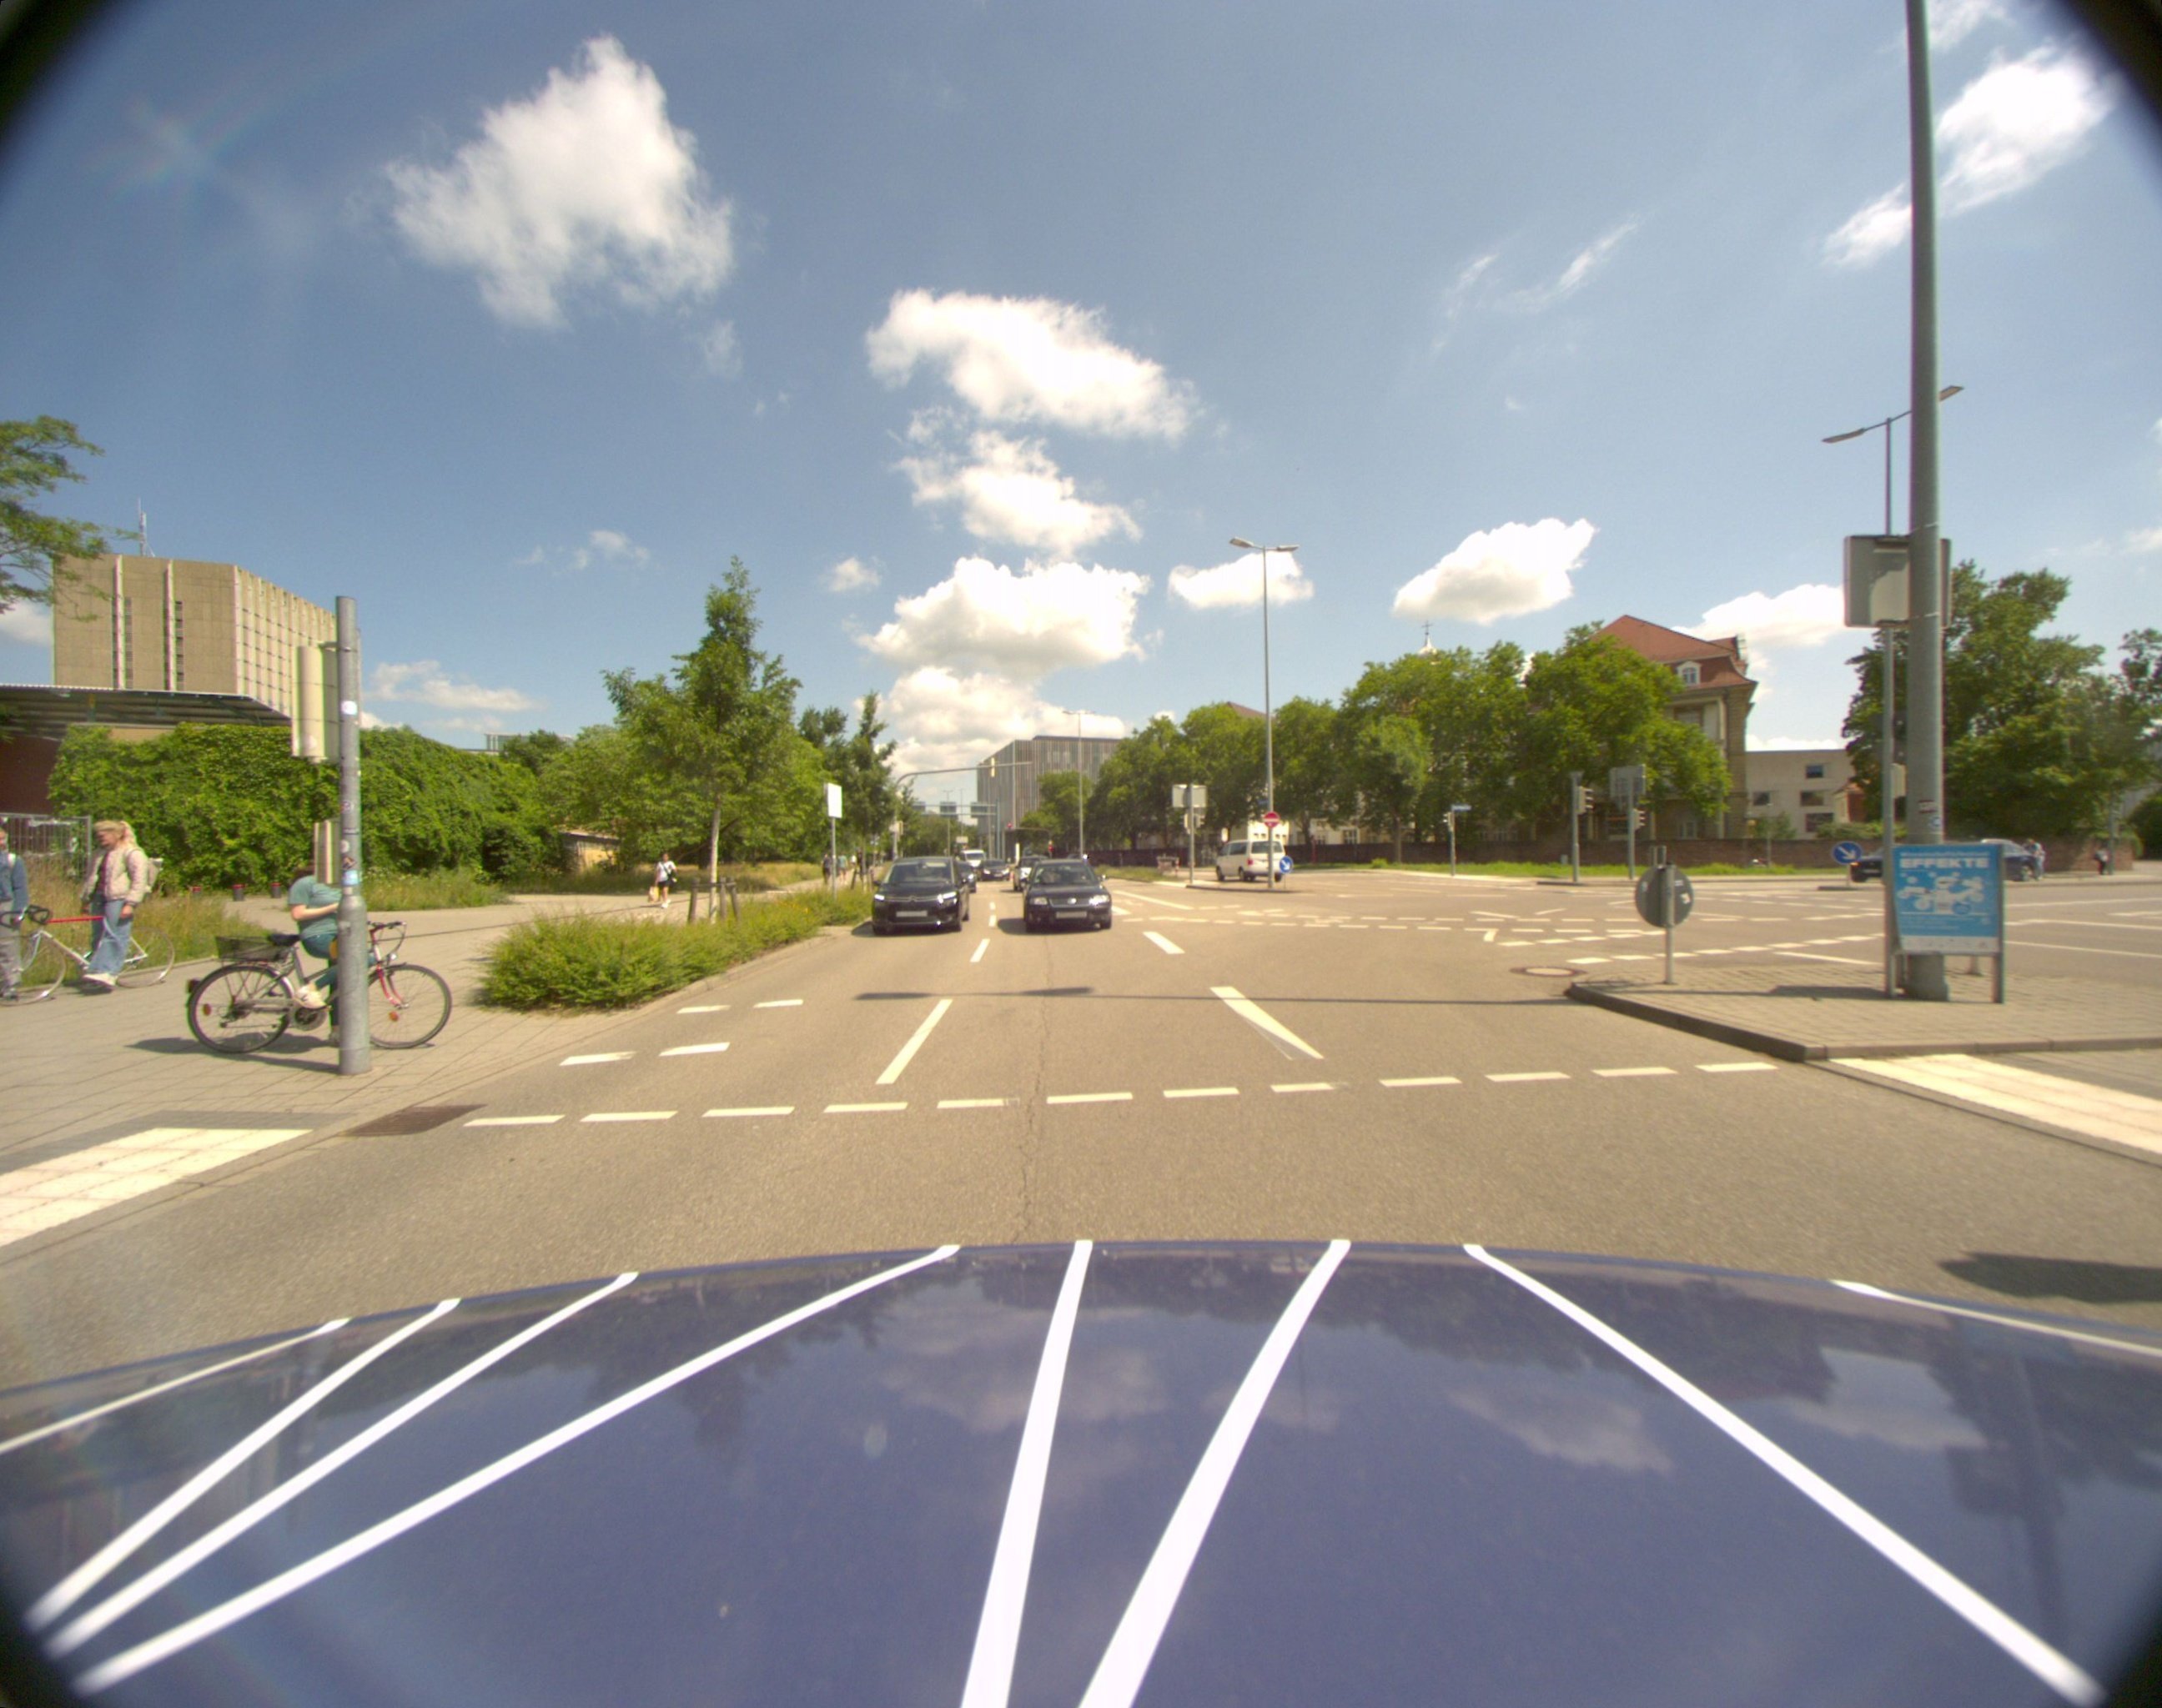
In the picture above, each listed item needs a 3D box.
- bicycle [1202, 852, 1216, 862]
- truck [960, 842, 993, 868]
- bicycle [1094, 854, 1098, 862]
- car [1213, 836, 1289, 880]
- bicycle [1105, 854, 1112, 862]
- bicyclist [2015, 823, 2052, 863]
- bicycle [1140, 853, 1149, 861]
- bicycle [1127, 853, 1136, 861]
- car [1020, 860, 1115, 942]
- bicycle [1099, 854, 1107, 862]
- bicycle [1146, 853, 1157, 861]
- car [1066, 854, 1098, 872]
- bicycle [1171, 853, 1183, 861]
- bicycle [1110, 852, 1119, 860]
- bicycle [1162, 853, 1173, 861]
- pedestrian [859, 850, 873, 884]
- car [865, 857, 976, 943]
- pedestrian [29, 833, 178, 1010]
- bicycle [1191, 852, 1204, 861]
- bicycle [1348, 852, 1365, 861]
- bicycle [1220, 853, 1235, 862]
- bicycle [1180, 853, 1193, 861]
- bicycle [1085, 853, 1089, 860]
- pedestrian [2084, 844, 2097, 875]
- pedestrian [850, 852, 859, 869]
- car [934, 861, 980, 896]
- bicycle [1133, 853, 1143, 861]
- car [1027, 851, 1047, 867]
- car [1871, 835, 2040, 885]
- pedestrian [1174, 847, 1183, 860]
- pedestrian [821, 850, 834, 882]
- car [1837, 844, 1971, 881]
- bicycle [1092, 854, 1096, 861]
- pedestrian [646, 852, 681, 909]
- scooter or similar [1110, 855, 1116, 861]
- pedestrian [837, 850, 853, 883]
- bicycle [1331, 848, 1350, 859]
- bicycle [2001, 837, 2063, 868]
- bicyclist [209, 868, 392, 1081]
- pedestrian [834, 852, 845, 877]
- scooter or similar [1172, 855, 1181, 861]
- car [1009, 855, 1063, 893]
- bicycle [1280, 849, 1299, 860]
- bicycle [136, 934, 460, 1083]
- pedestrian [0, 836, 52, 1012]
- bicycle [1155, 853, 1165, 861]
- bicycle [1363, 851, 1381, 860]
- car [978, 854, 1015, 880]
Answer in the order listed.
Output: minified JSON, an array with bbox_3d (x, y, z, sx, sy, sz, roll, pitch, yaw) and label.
[{"bbox_3d":[14.694,0.347,87.383,0.399,1.037,1.953,-1,1,-34],"label":"bicycle"},{"bbox_3d":[-10.095,0.130,73.209,2.464,2.287,5.808,-3,1,-14],"label":"truck"},{"bbox_3d":[2.245,0.571,110.674,0.382,1.101,1.671,-1,0,7],"label":"bicycle"},{"bbox_3d":[7.951,0.183,35.985,1.887,1.883,4.866,-1,0,-8],"label":"car"},{"bbox_3d":[3.876,0.510,107.174,0.383,1.101,1.667,-1,1,-25],"label":"bicycle"},{"bbox_3d":[36.930,-0.438,29.474,0.647,1.524,0.667,-2,2,-12],"label":"bicyclist"},{"bbox_3d":[8.208,0.336,98.409,0.378,1.037,1.413,-1,1,-29],"label":"bicycle"},{"bbox_3d":[6.687,0.386,101.399,0.383,1.037,1.666,-1,1,-27],"label":"bicycle"},{"bbox_3d":[-0.393,0.914,16.746,1.752,1.426,4.518,-3,0,-4],"label":"car"},{"bbox_3d":[3.155,0.540,109.076,0.383,1.101,1.667,-1,1,-24],"label":"bicycle"},{"bbox_3d":[8.977,0.340,96.983,0.398,1.037,1.757,-1,1,-29],"label":"bicycle"},{"bbox_3d":[0.088,0.850,71.271,1.888,1.614,4.149,-2,0,-16],"label":"car"},{"bbox_3d":[11.619,0.362,92.213,0.398,1.037,1.757,-1,1,-30],"label":"bicycle"},{"bbox_3d":[4.663,0.319,105.665,0.383,1.101,1.666,-1,1,-27],"label":"bicycle"},{"bbox_3d":[10.730,0.401,93.802,0.398,0.998,1.757,-1,1,-29],"label":"bicycle"},{"bbox_3d":[-11.147,0.674,39.468,0.669,1.739,0.847,0,0,-15],"label":"pedestrian"},{"bbox_3d":[-3.476,0.912,17.269,1.863,1.613,4.518,-2,1,-5],"label":"car"},{"bbox_3d":[-10.325,0.687,8.051,0.752,1.792,0.609,1,0,-8],"label":"pedestrian"},{"bbox_3d":[13.642,0.343,88.967,0.399,1.037,1.635,-1,1,-34],"label":"bicycle"},{"bbox_3d":[26.129,0.257,72.090,0.399,0.784,1.462,-1,1,-41],"label":"bicycle"},{"bbox_3d":[16.339,0.393,84.728,0.399,1.037,1.953,-1,1,-34],"label":"bicycle"},{"bbox_3d":[12.610,0.347,90.535,0.398,1.037,1.953,-1,1,-31],"label":"bicycle"},{"bbox_3d":[0.919,0.368,113.286,0.382,1.101,1.671,-1,0,7],"label":"bicycle"},{"bbox_3d":[61.541,0.329,46.321,0.570,1.810,0.437,-3,2,-32],"label":"pedestrian"},{"bbox_3d":[-24.847,0.727,83.297,0.845,1.755,0.840,-2,2,-15],"label":"pedestrian"},{"bbox_3d":[-5.750,1.078,34.920,1.767,1.409,4.358,-3,1,-13],"label":"car"},{"bbox_3d":[7.476,0.334,99.812,0.383,1.037,1.666,-1,1,-27],"label":"bicycle"},{"bbox_3d":[-6.330,0.711,108.438,2.217,2.158,4.515,1,0,-12],"label":"car"},{"bbox_3d":[28.231,0.161,24.549,4.672,1.477,1.997,-1,0,-19],"label":"car"},{"bbox_3d":[11.535,-0.045,89.543,0.724,1.602,0.779,-2,1,-44],"label":"pedestrian"},{"bbox_3d":[-13.683,0.656,41.025,0.669,1.736,0.608,0,0,-20],"label":"pedestrian"},{"bbox_3d":[34.761,0.334,32.119,4.513,1.477,1.997,-1,0,-15],"label":"car"},{"bbox_3d":[1.918,0.522,111.367,0.382,1.101,1.671,-1,0,7],"label":"bicycle"},{"bbox_3d":[-11.945,0.749,21.749,0.753,1.587,0.880,0,0,-22],"label":"pedestrian"},{"bbox_3d":[4.410,0.582,104.447,0.353,0.838,1.067,-1,1,-28],"label":"scooter or similar"},{"bbox_3d":[-12.919,0.698,41.612,0.753,1.767,0.880,0,0,-20],"label":"pedestrian"},{"bbox_3d":[25.076,-0.023,73.424,0.399,1.024,1.682,-2,1,-41],"label":"bicycle"},{"bbox_3d":[36.901,-0.063,29.482,2.069,1.140,0.667,-2,2,-12],"label":"bicycle"},{"bbox_3d":[-6.182,0.927,6.056,0.830,1.592,0.579,2,2,-8],"label":"bicyclist"},{"bbox_3d":[-17.328,0.766,54.502,0.752,1.739,0.666,0,0,-15],"label":"pedestrian"},{"bbox_3d":[11.467,0.494,91.207,0.354,0.789,1.067,-1,1,-39],"label":"scooter or similar"},{"bbox_3d":[-2.094,0.841,34.344,1.753,1.496,4.515,-3,1,-12],"label":"car"},{"bbox_3d":[21.398,0.070,77.967,0.399,1.130,2.033,-1,1,-39],"label":"bicycle"},{"bbox_3d":[-6.167,1.209,6.068,1.815,1.044,0.591,2,2,-8],"label":"bicycle"},{"bbox_3d":[-11.067,0.693,7.572,0.752,1.742,0.609,1,0,-8],"label":"pedestrian"},{"bbox_3d":[9.896,0.370,95.322,0.398,1.037,1.580,-1,1,-29],"label":"bicycle"},{"bbox_3d":[27.182,0.121,71.008,0.399,0.784,1.540,-1,1,-41],"label":"bicycle"},{"bbox_3d":[-5.575,0.818,49.584,1.753,1.496,4.515,-3,1,-14],"label":"car"}]
